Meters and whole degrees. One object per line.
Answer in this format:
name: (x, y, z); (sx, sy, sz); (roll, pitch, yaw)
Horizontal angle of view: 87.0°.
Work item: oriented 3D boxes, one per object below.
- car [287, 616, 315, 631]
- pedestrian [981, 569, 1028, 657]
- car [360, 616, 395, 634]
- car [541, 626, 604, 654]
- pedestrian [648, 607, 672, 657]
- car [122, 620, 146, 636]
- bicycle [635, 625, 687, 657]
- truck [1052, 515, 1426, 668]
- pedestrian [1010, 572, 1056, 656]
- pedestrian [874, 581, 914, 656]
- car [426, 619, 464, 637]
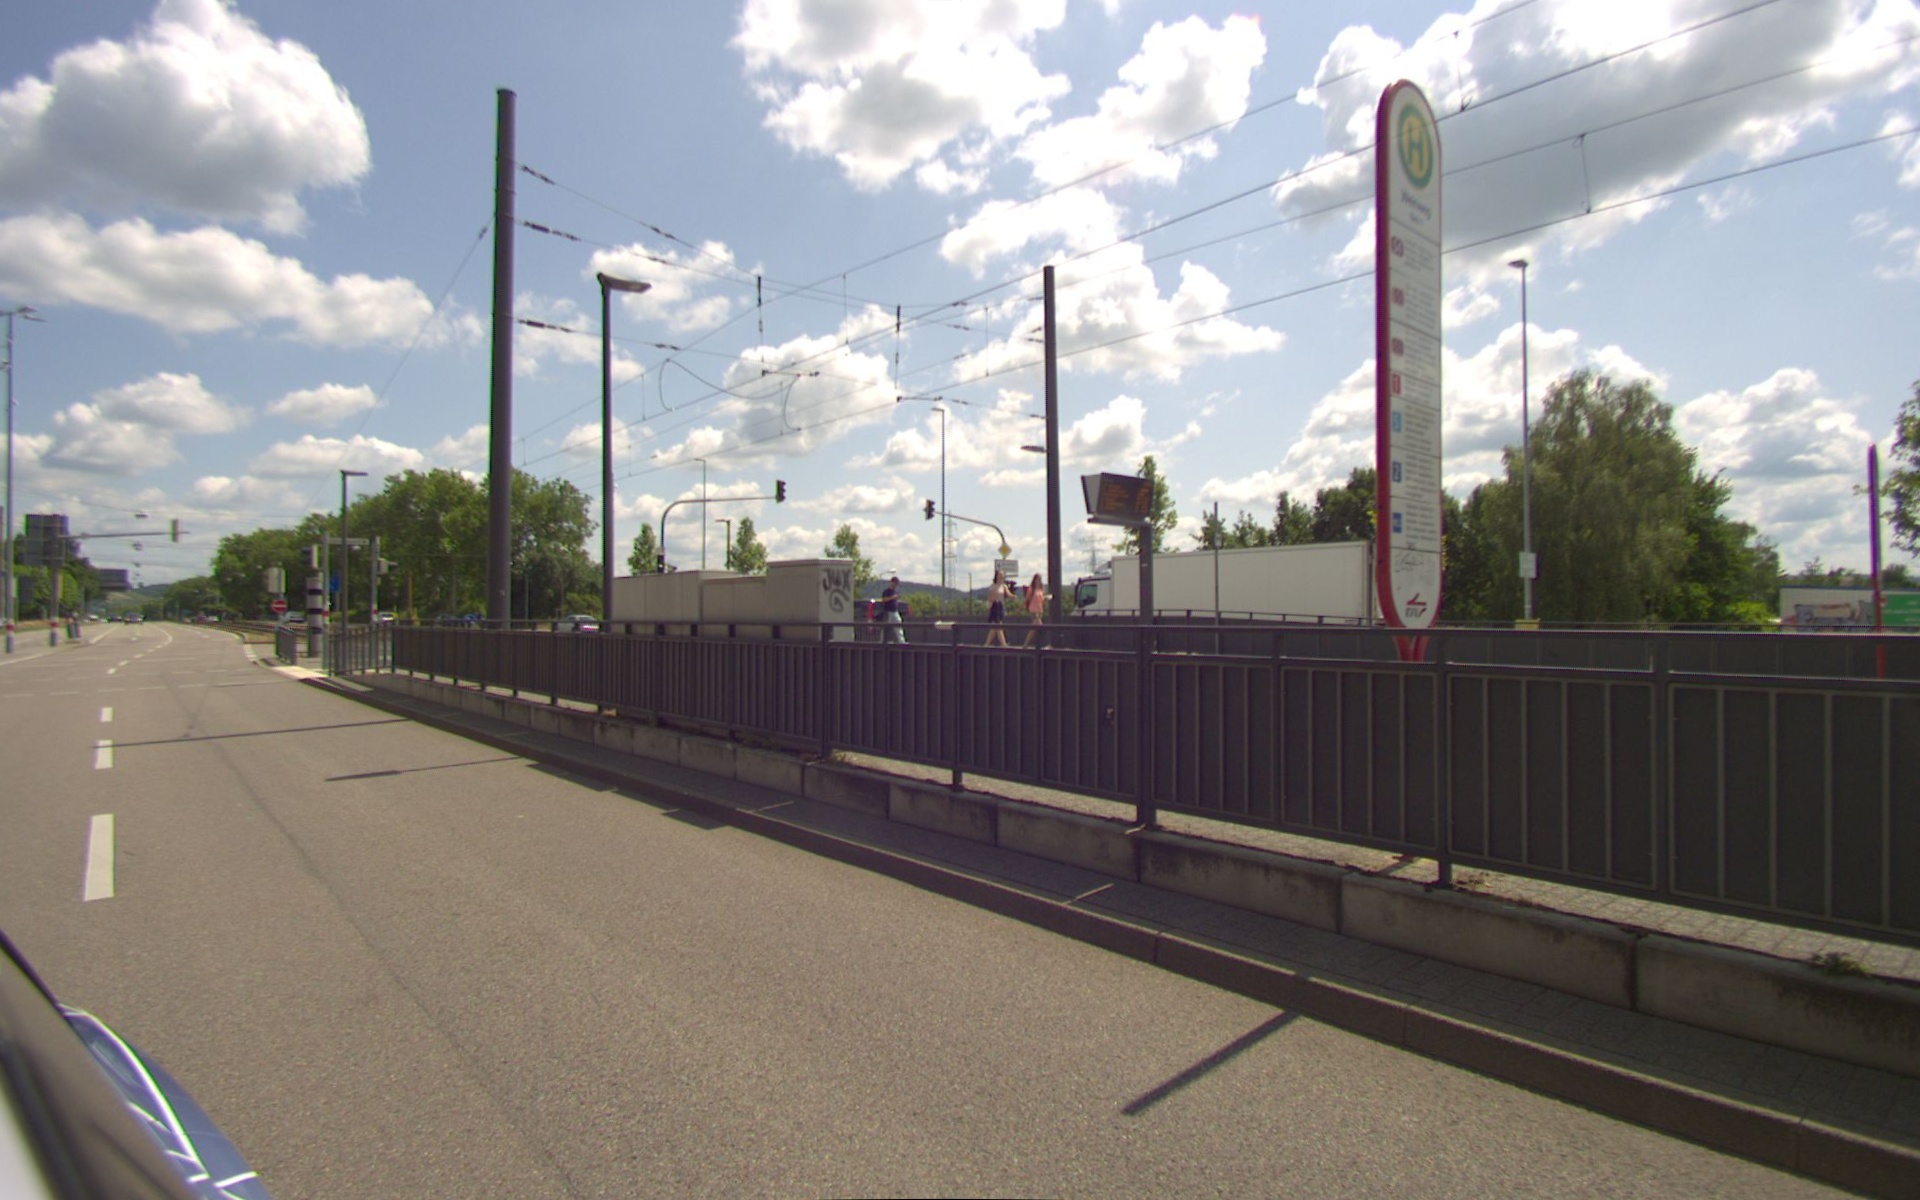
car: (-83.801, 2.954, 128.732); (1.965, 1.822, 5.151); (-1, -2, -20)
pedestrian: (0.915, 0.270, 20.796); (0.626, 1.761, 0.679); (-2, 0, -36)
car: (-58.157, 2.500, 101.055); (4.324, 1.671, 1.787); (-2, -6, 44)
car: (-26.585, 2.760, 69.418); (4.659, 1.787, 1.861); (-2, -2, 37)
pedestrian: (-10.987, 1.161, 37.057); (0.661, 1.782, 0.614); (-1, -1, -37)
car: (-110.693, 3.812, 135.630); (1.966, 2.029, 4.011); (-1, -2, -32)
bicycle: (-10.955, 1.494, 37.074); (1.694, 1.096, 0.622); (-1, -1, -37)
truck: (8.383, -0.105, 32.793); (2.906, 4.136, 12.014); (0, -1, -41)
pedestrian: (1.539, 0.293, 21.319); (0.591, 1.734, 0.710); (-1, -2, -36)
pedestrian: (-1.544, 0.426, 23.790); (0.718, 1.734, 0.526); (-1, -2, -35)
car: (-43.654, 2.394, 85.723); (3.893, 1.419, 1.646); (-2, -1, 44)
